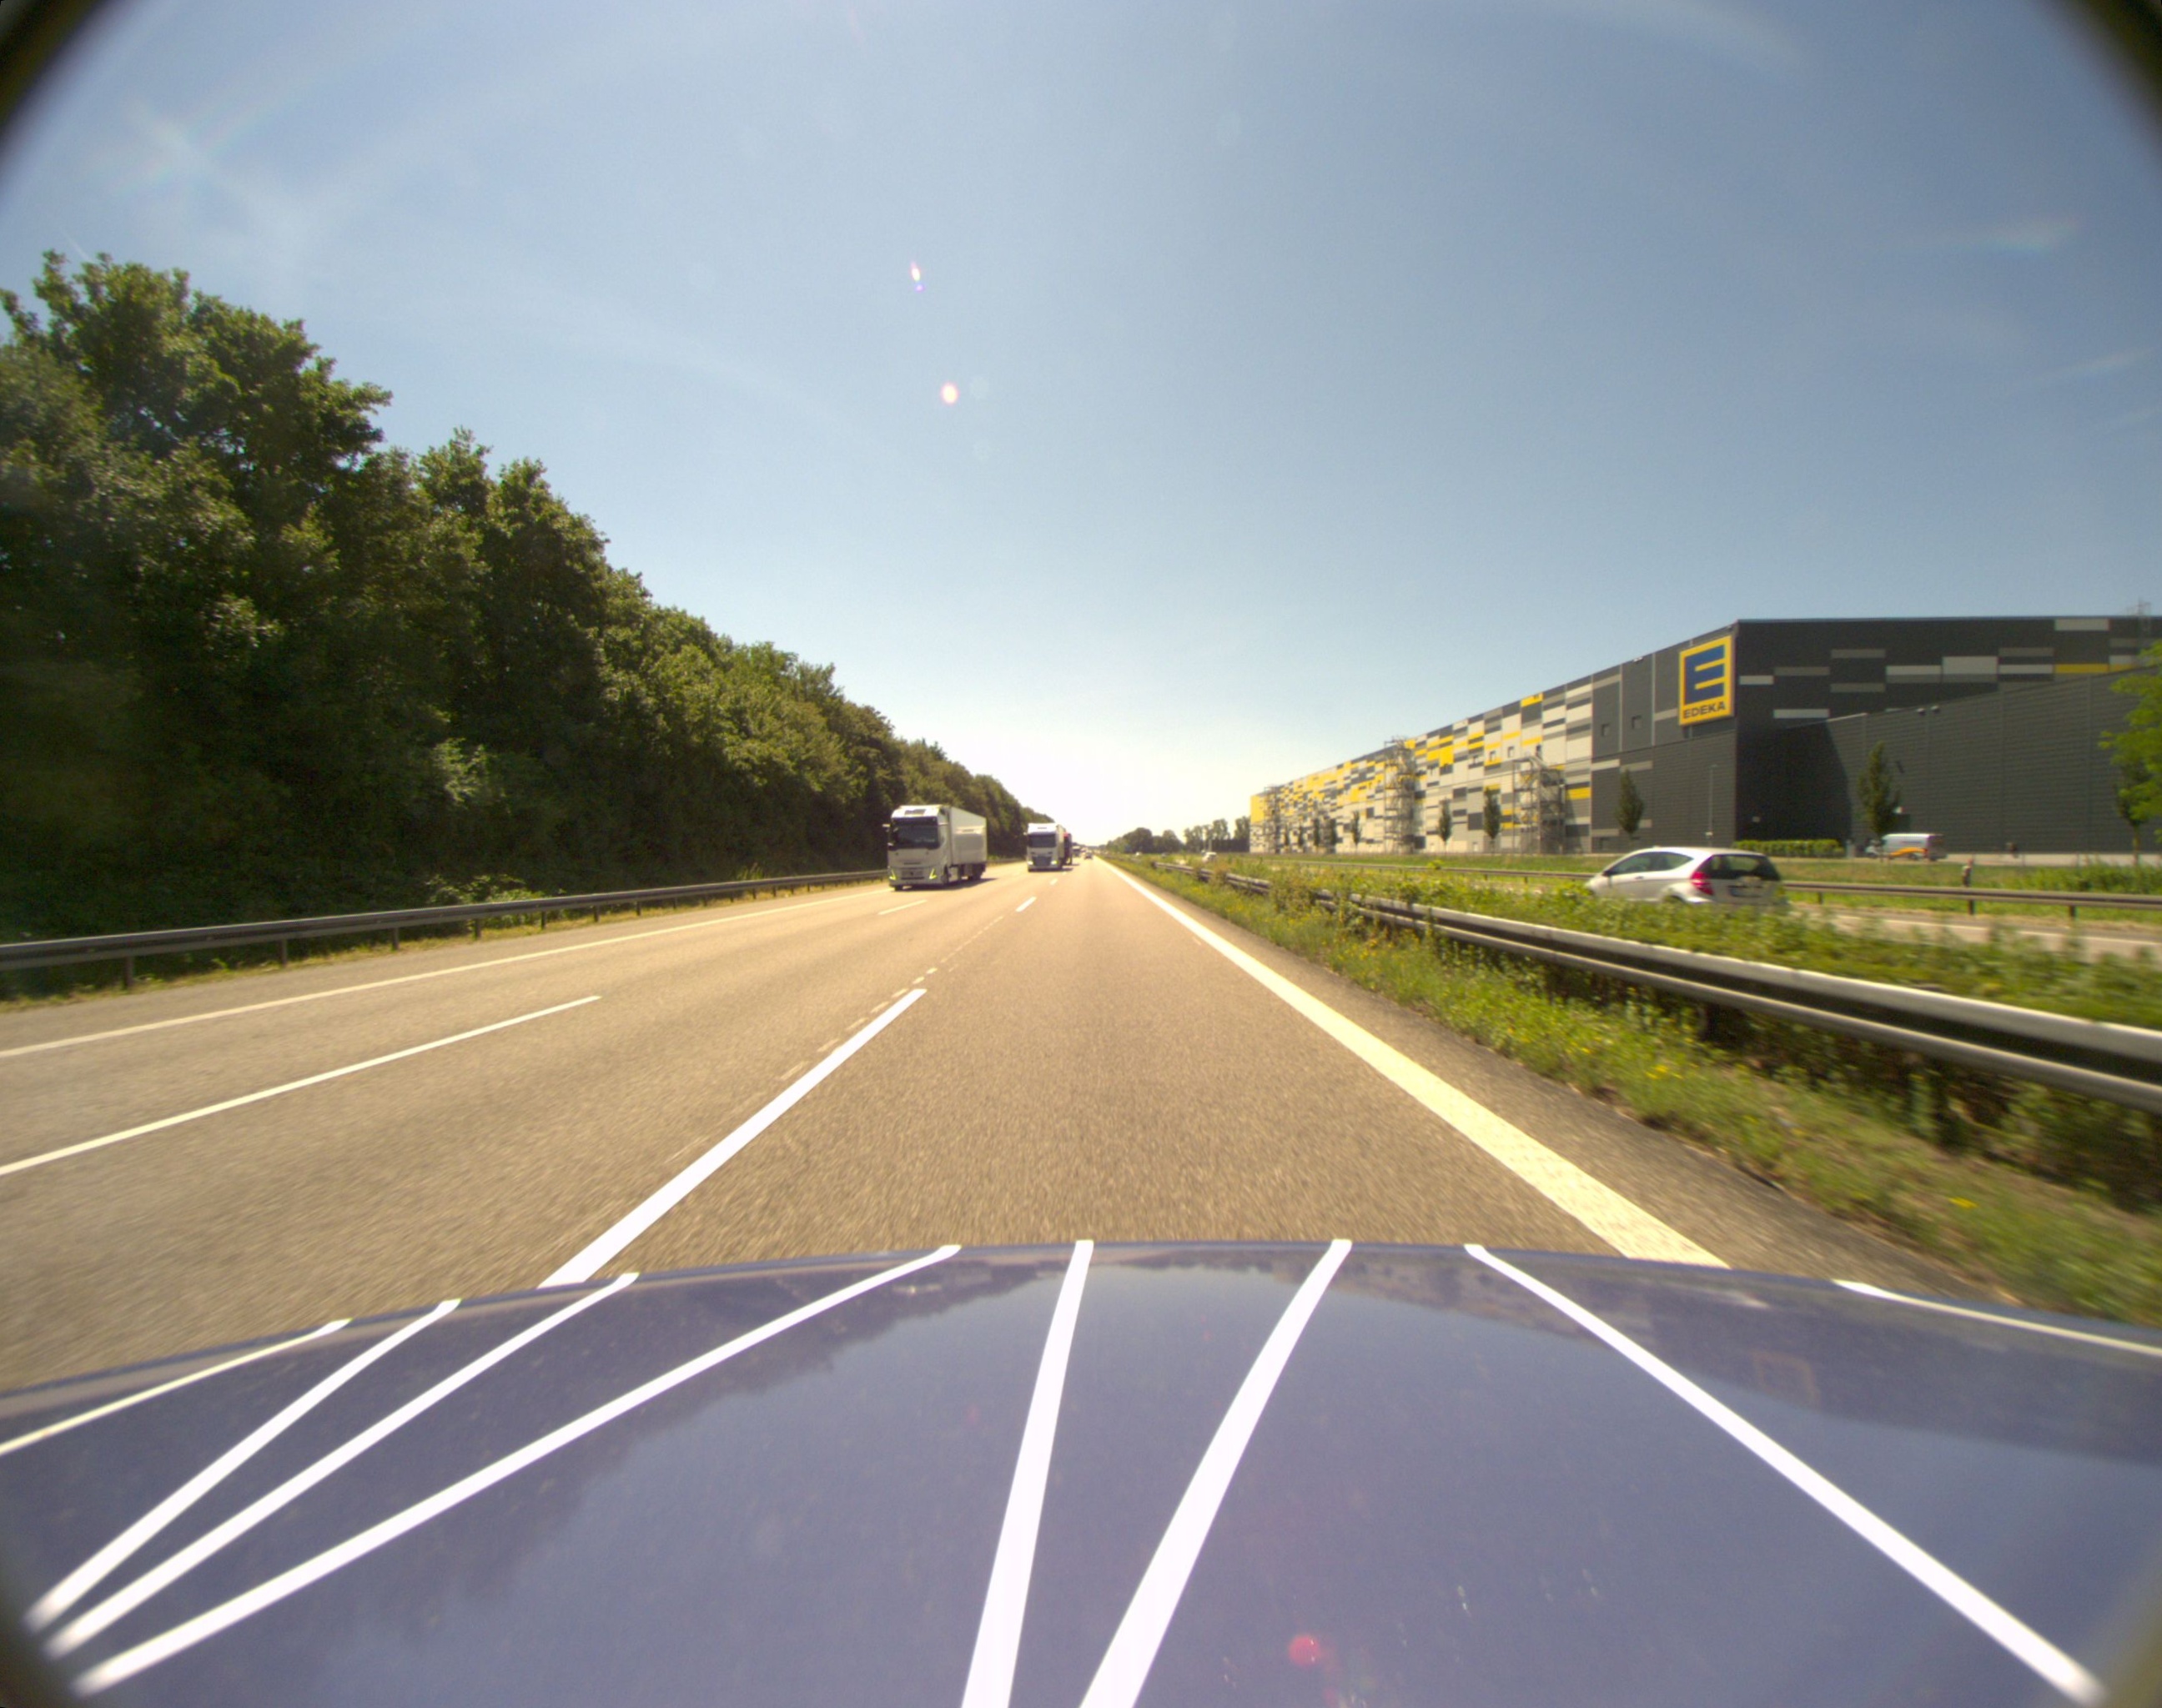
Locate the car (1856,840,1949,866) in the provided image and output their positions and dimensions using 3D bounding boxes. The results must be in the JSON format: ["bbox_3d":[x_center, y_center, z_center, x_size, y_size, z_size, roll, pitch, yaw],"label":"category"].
[{"bbox_3d":[79.568,-0.114,73.747,2.403,2.442,6.173,0,1,1],"label":"car"}]

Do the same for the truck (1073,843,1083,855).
[{"bbox_3d":[-0.926,-1.631,246.640,2.999,4.046,5.770,-2,0,0],"label":"truck"}]

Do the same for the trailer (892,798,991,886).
[{"bbox_3d":[-7.591,-0.609,43.903,3.047,4.200,13.834,-2,0,0],"label":"trailer"}]

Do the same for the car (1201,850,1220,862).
[{"bbox_3d":[18.300,0.262,107.477,1.904,1.584,4.742,1,1,0],"label":"car"}]

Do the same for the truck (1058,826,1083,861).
[{"bbox_3d":[-1.258,-1.216,92.609,2.870,4.046,5.770,-2,0,-1],"label":"truck"}]

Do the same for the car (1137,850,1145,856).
[{"bbox_3d":[16.948,-0.226,214.275,1.812,1.475,4.416,2,0,1],"label":"car"}]

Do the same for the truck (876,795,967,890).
[{"bbox_3d":[-7.611,-0.539,37.122,3.055,4.190,6.048,-2,0,0],"label":"truck"}]

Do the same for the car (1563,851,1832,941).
[{"bbox_3d":[12.010,0.724,15.273,1.904,1.544,4.240,0,0,-1],"label":"car"}]

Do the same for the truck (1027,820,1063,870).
[{"bbox_3d":[-3.046,-0.758,65.110,2.684,4.046,6.048,-2,0,0],"label":"truck"}]

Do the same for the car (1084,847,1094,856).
[{"bbox_3d":[1.720,-0.494,166.372,2.073,1.959,5.109,0,0,-1],"label":"car"}]

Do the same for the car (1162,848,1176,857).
[{"bbox_3d":[15.681,-0.214,135.736,1.904,1.523,5.031,3,1,0],"label":"car"}]

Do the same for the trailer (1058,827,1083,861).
[{"bbox_3d":[-1.395,-1.234,99.343,2.885,4.046,13.832,-2,0,-1],"label":"trailer"}]

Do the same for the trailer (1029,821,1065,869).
[{"bbox_3d":[-3.060,-0.786,71.674,2.684,4.046,13.834,-2,0,0],"label":"trailer"}]
